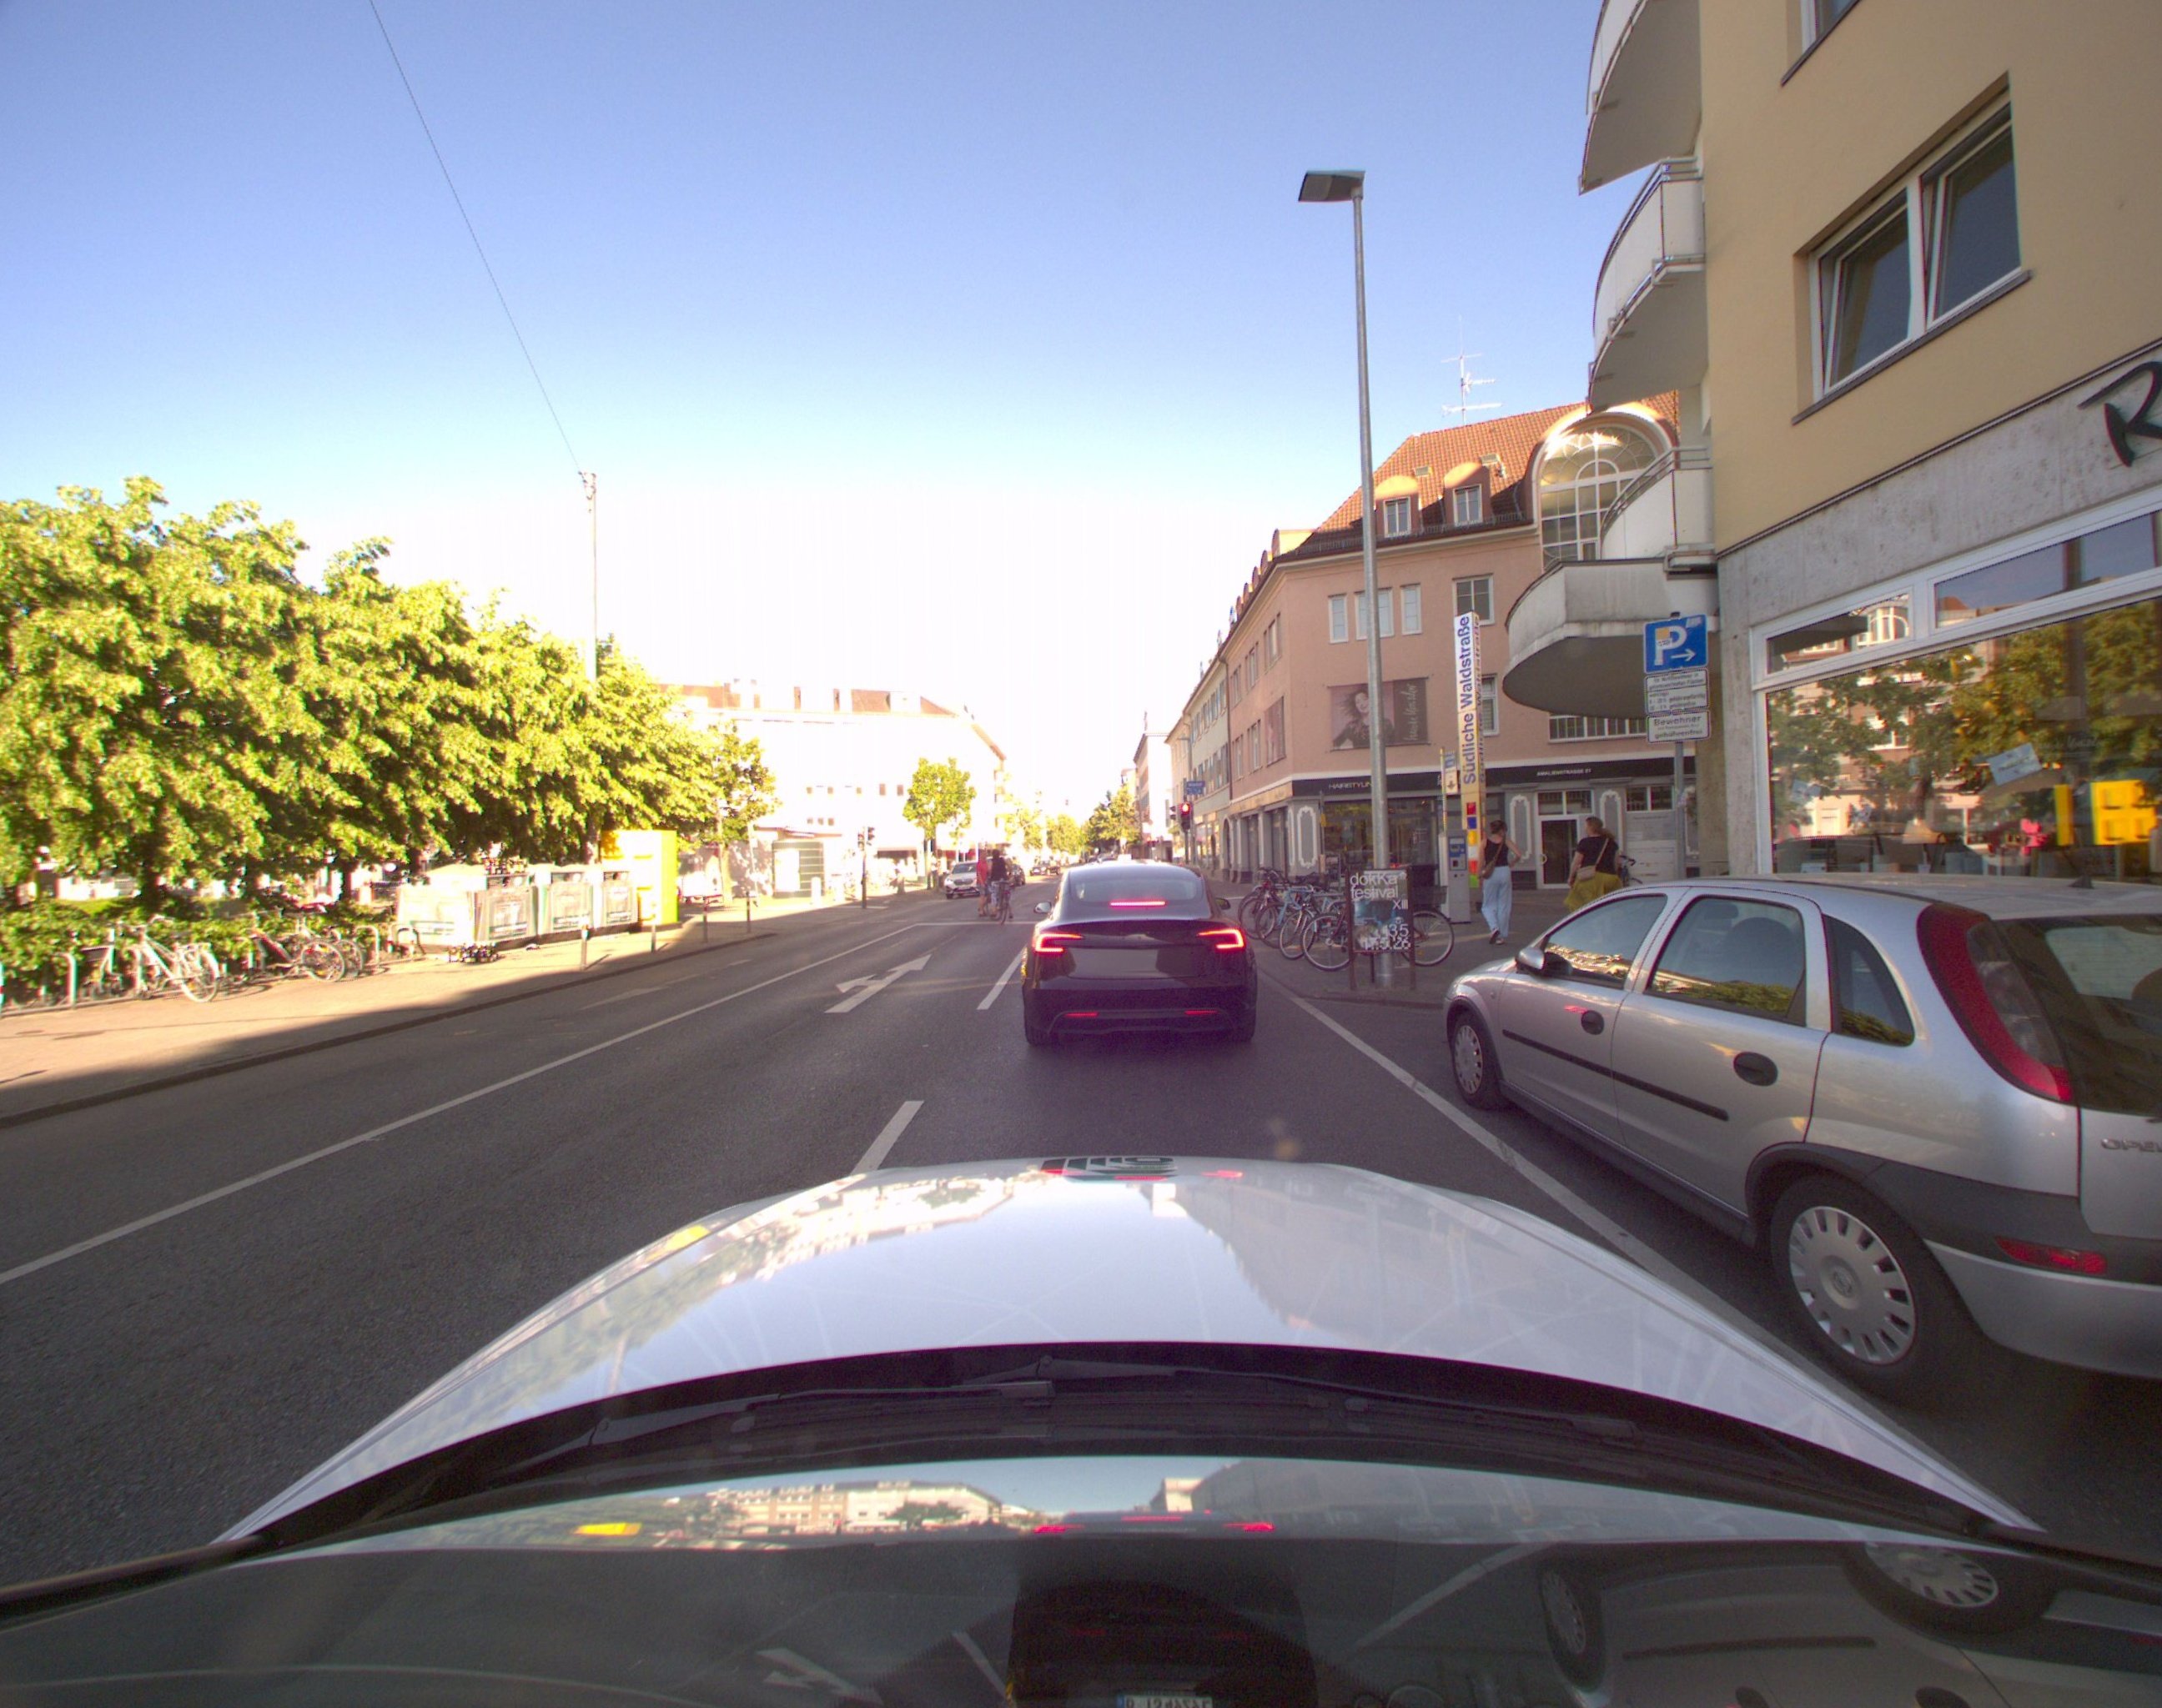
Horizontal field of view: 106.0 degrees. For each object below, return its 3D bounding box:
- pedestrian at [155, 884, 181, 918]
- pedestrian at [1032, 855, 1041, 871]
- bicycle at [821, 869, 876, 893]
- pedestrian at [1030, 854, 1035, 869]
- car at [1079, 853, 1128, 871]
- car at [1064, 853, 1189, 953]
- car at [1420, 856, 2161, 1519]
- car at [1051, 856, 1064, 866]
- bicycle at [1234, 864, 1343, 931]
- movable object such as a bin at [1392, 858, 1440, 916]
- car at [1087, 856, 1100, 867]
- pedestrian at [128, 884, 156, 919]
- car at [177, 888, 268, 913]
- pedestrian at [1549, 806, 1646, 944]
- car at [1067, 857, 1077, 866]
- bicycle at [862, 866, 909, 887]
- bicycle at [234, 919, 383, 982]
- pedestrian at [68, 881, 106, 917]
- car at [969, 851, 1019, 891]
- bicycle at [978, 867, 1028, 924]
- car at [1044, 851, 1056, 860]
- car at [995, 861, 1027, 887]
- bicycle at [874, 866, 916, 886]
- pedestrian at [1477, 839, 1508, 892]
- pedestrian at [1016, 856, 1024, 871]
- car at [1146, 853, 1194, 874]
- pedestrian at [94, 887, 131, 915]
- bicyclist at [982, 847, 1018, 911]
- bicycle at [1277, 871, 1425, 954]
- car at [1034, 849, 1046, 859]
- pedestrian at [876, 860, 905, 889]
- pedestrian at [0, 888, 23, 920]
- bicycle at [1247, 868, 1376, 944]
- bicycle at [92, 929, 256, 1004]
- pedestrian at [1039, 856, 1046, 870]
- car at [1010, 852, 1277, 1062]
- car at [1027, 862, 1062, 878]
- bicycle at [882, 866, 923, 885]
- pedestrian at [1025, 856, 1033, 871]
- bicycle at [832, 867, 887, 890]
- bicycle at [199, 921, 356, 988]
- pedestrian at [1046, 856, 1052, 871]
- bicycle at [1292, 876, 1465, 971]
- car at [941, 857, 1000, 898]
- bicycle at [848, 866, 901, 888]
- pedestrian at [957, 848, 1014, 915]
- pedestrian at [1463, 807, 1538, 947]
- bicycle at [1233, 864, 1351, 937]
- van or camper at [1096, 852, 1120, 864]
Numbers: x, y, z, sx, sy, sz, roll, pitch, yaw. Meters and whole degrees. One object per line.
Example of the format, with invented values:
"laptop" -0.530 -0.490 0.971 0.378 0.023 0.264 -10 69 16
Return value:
"pedestrian" -41.788 2.135 37.263 0.553 1.508 0.611 -1 -1 17
"pedestrian" -5.157 1.096 94.858 0.726 1.868 0.796 -1 -1 30
"bicycle" -12.321 1.435 43.246 2.652 1.195 0.942 0 -1 -1
"pedestrian" -6.214 0.974 104.226 0.693 1.868 0.658 0 -1 -3
"car" 2.387 0.797 84.801 4.718 1.430 1.722 -5 -1 -22
"car" 0.747 0.744 14.308 1.843 1.482 4.453 0 0 2
"car" 2.966 0.733 3.548 1.578 1.426 3.581 0 -1 2
"car" -4.858 1.319 166.810 2.405 1.970 4.679 -1 0 2
"bicycle" 3.742 0.778 14.773 1.806 1.152 0.653 -1 0 3
"movable object such as a bin" 6.750 0.654 16.424 0.633 1.103 0.728 -4 -1 5
"car" 2.042 1.229 135.049 2.027 1.788 4.008 -1 0 2
"pedestrian" -42.138 2.128 36.545 0.827 1.520 0.782 -1 -1 38
"car" -61.288 3.290 58.228 4.138 1.530 1.539 -1 0 -23
"pedestrian" 6.965 0.274 11.025 0.718 1.754 0.789 -4 -1 6
"car" -1.998 1.774 187.430 2.124 1.970 4.135 -1 0 2
"bicycle" -12.051 1.384 50.303 2.655 1.259 0.942 0 -1 -1
"bicycle" -11.456 1.421 12.103 1.663 0.859 0.469 0 -1 -5
"pedestrian" -43.561 1.951 35.685 0.928 1.520 0.924 0 -1 -43
"car" -4.492 0.831 42.922 1.938 1.947 4.822 -1 0 2
"bicycle" -1.863 0.941 19.284 0.630 1.223 1.986 -1 0 -22
"car" -7.165 0.288 188.734 2.266 2.014 4.720 0 -1 3
"car" -4.253 1.201 50.048 1.455 1.430 3.607 -5 -1 2
"bicycle" -11.996 1.398 52.578 2.535 1.251 0.942 0 -1 -1
"pedestrian" 12.142 0.337 24.042 0.715 1.549 0.796 -1 -1 21
"pedestrian" -7.288 1.132 97.274 0.734 1.868 0.787 0 -1 -15
"car" 8.149 0.868 74.652 4.006 1.867 1.686 -1 0 -20
"pedestrian" -45.296 2.191 38.104 0.856 1.214 0.906 -1 -1 25
"bicyclist" -1.931 0.586 19.453 0.608 1.484 0.951 0 -1 -22
"bicycle" 3.661 0.792 11.157 1.806 1.060 0.653 -1 0 3
"car" -9.020 -0.015 180.139 2.266 2.014 4.720 0 -1 3
"pedestrian" -11.085 1.182 47.440 1.082 1.611 1.274 -1 -1 39
"pedestrian" -64.368 3.009 48.585 1.307 1.842 1.089 0 -1 -42
"bicycle" 3.524 0.785 12.569 1.806 1.102 0.653 -1 0 3
"bicycle" -11.456 1.414 10.307 1.560 0.886 0.470 0 -1 1
"pedestrian" -5.062 1.193 106.978 0.695 1.868 0.906 0 -1 -11
"car" 0.501 0.733 7.885 1.843 1.447 4.453 0 0 2
"car" -3.227 1.404 73.293 1.679 1.390 3.936 -1 -1 21
"bicycle" -12.050 1.417 55.005 2.535 1.251 0.942 0 -1 -1
"pedestrian" -6.225 1.127 97.665 0.734 1.868 0.787 0 -1 -15
"bicycle" -12.390 1.368 45.589 2.772 1.274 0.933 0 -1 -2
"bicycle" -11.421 1.420 11.604 1.667 0.859 0.469 0 -1 -5
"pedestrian" -4.028 1.155 103.158 0.773 1.868 1.007 0 -1 -5
"bicycle" 3.641 0.840 10.085 1.875 1.044 0.653 -2 0 3
"car" -4.880 1.012 36.600 1.818 1.565 4.302 -5 -1 2
"bicycle" -12.151 1.360 47.985 2.867 1.270 0.942 0 -1 -1
"pedestrian" -2.502 0.702 21.491 1.100 1.719 1.067 -1 -1 22
"pedestrian" 5.867 0.320 11.441 0.675 1.849 0.898 -5 -1 19
"bicycle" 3.502 0.770 13.644 1.806 1.152 0.653 -1 0 3
"van or camper" 5.634 0.848 167.662 4.833 2.438 1.851 -1 0 1
